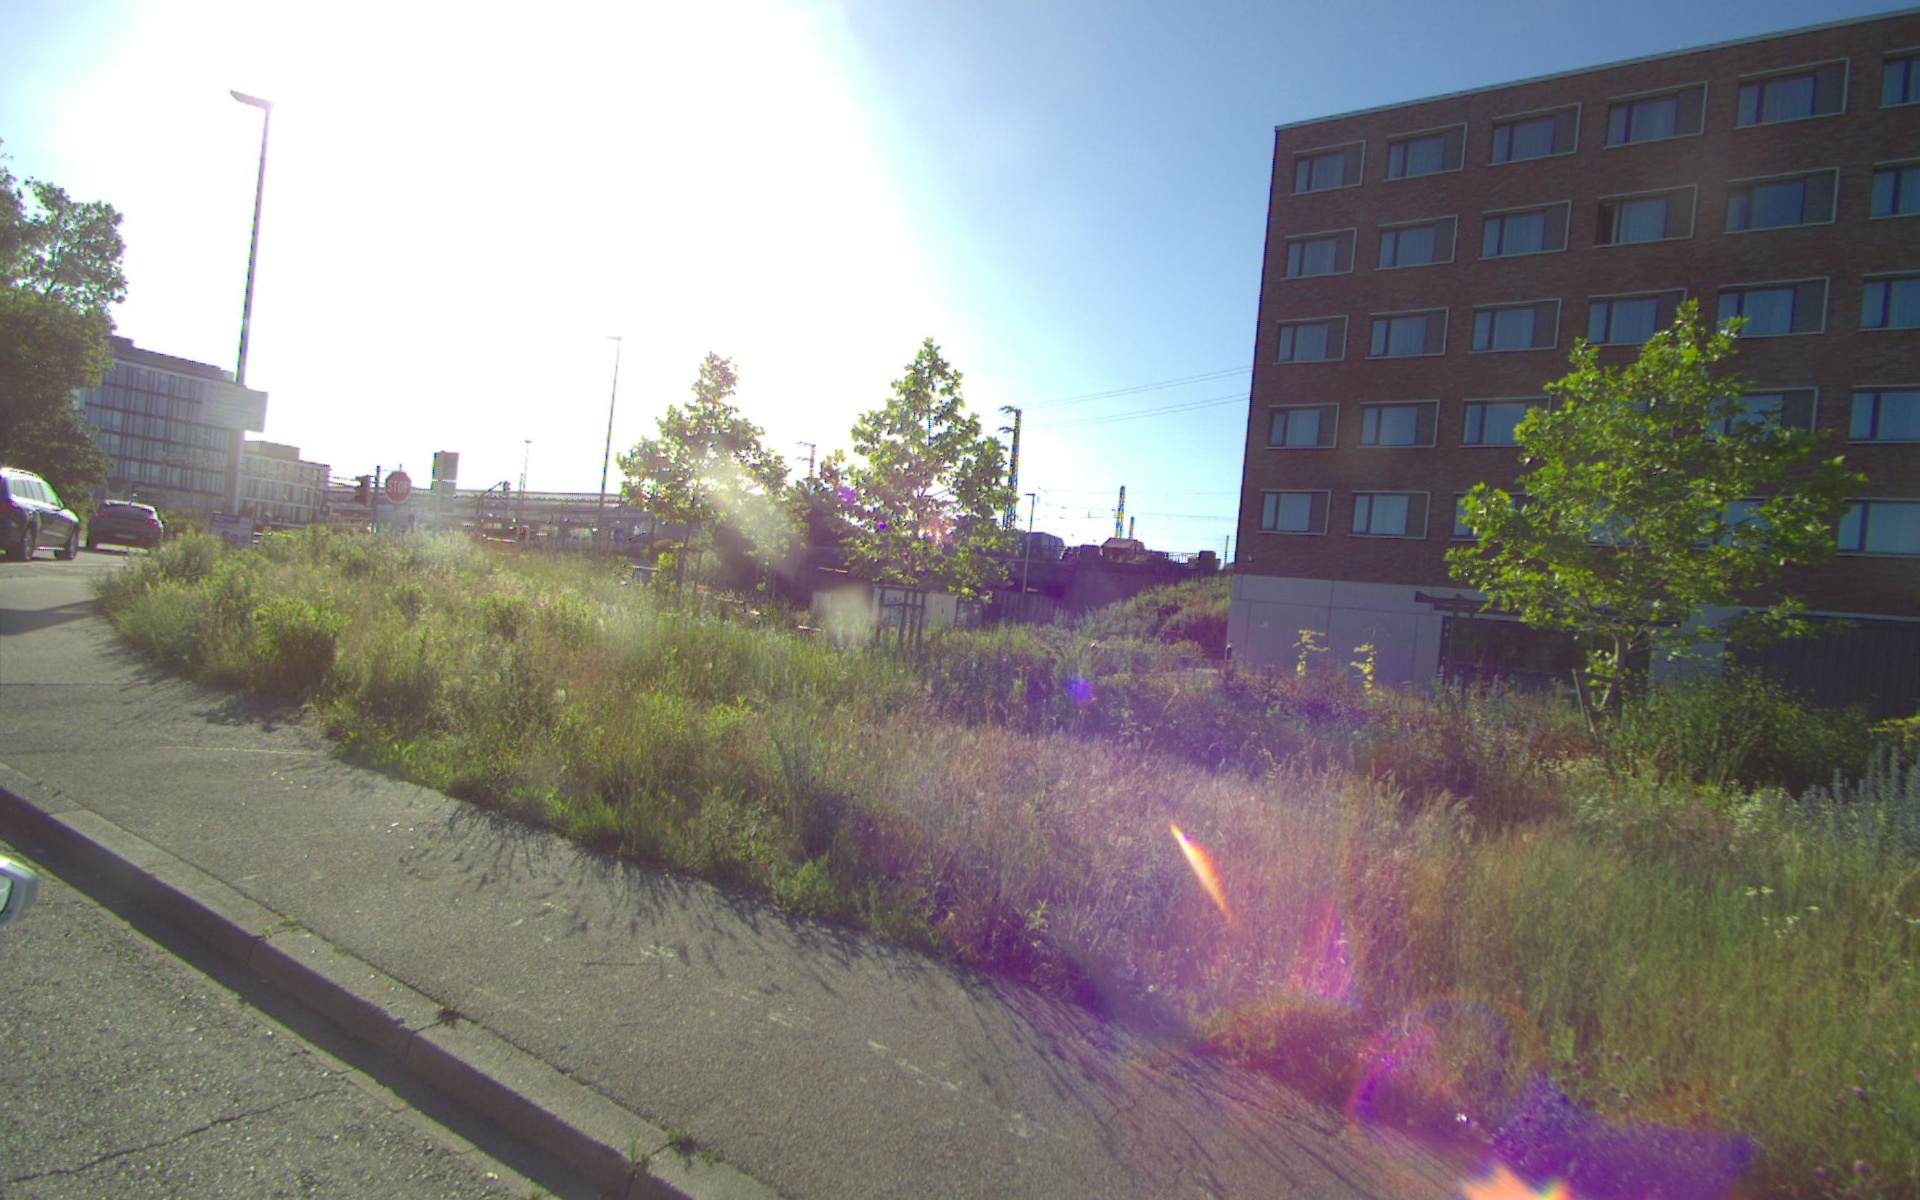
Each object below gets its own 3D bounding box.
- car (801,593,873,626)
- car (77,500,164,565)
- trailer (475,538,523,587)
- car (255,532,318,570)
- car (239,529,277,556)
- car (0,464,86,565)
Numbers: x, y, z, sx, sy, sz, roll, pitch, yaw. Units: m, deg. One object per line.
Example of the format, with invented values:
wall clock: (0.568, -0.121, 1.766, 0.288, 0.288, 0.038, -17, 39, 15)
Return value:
car: (-7.692, 0.624, 63.212, 1.926, 1.535, 4.377, 5, -3, 35)
car: (-27.393, -2.217, 32.876, 1.934, 1.733, 4.154, 8, -1, -40)
trailer: (-36.589, -2.913, 79.876, 2.969, 3.330, 6.629, 8, -2, -25)
car: (-31.509, -2.273, 47.162, 1.732, 1.494, 3.976, 7, -1, -26)
car: (-45.970, -3.744, 65.911, 1.736, 1.494, 3.966, 7, -1, -32)
car: (-20.356, -1.830, 20.989, 2.096, 1.910, 4.777, 7, -1, -29)
